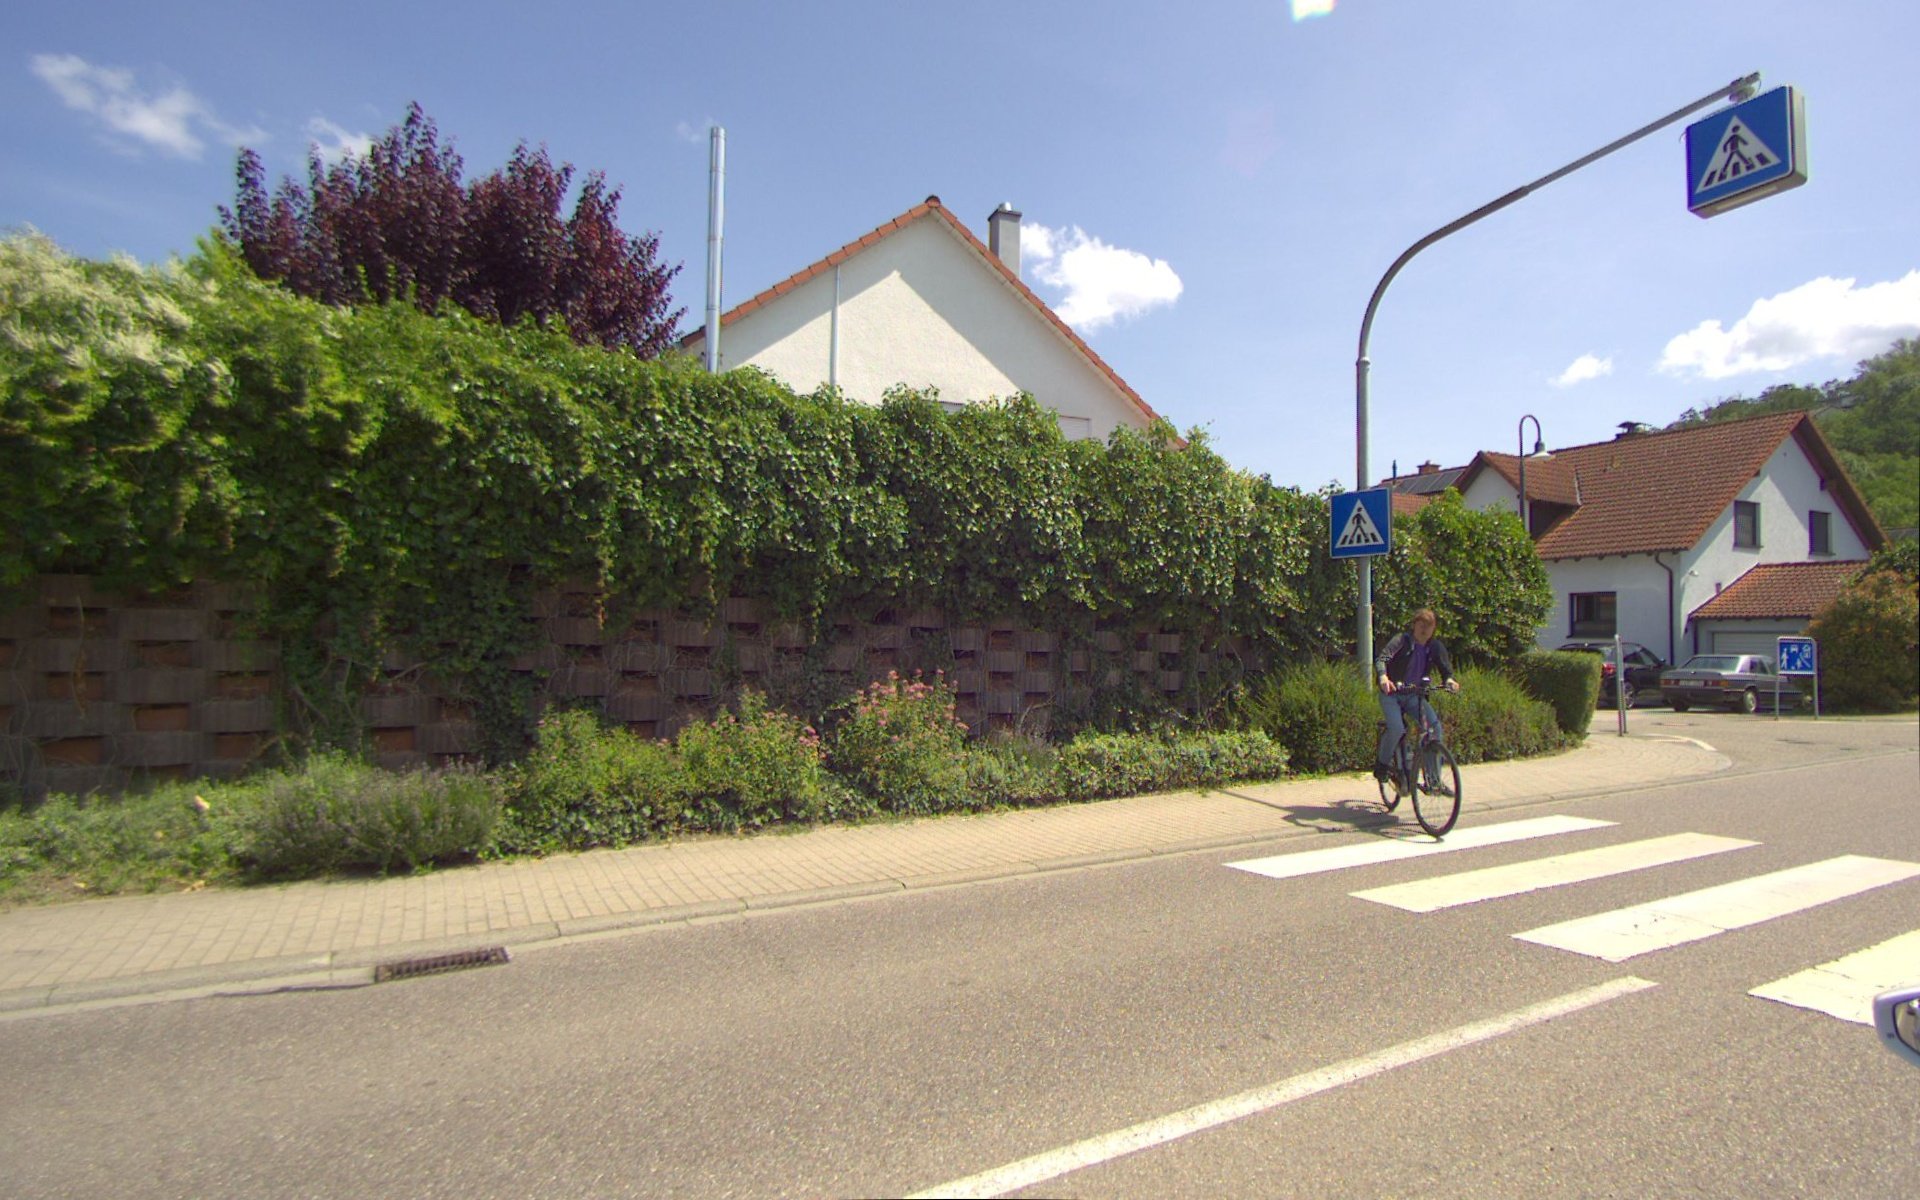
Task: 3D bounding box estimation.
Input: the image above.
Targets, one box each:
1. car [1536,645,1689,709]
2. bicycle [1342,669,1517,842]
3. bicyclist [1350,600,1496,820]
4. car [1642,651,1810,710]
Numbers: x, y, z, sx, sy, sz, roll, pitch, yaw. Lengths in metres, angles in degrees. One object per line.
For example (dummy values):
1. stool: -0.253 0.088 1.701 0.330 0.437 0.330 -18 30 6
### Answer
1. car: 17.125 1.965 26.324 3.953 1.570 1.758 1 -3 -30
2. bicycle: 3.732 1.176 8.173 0.789 1.180 1.945 -1 -3 10
3. bicyclist: 3.720 0.855 8.174 0.789 1.651 1.112 -1 -2 10
4. car: 18.536 1.910 24.291 3.948 1.302 1.655 1 -4 -27
